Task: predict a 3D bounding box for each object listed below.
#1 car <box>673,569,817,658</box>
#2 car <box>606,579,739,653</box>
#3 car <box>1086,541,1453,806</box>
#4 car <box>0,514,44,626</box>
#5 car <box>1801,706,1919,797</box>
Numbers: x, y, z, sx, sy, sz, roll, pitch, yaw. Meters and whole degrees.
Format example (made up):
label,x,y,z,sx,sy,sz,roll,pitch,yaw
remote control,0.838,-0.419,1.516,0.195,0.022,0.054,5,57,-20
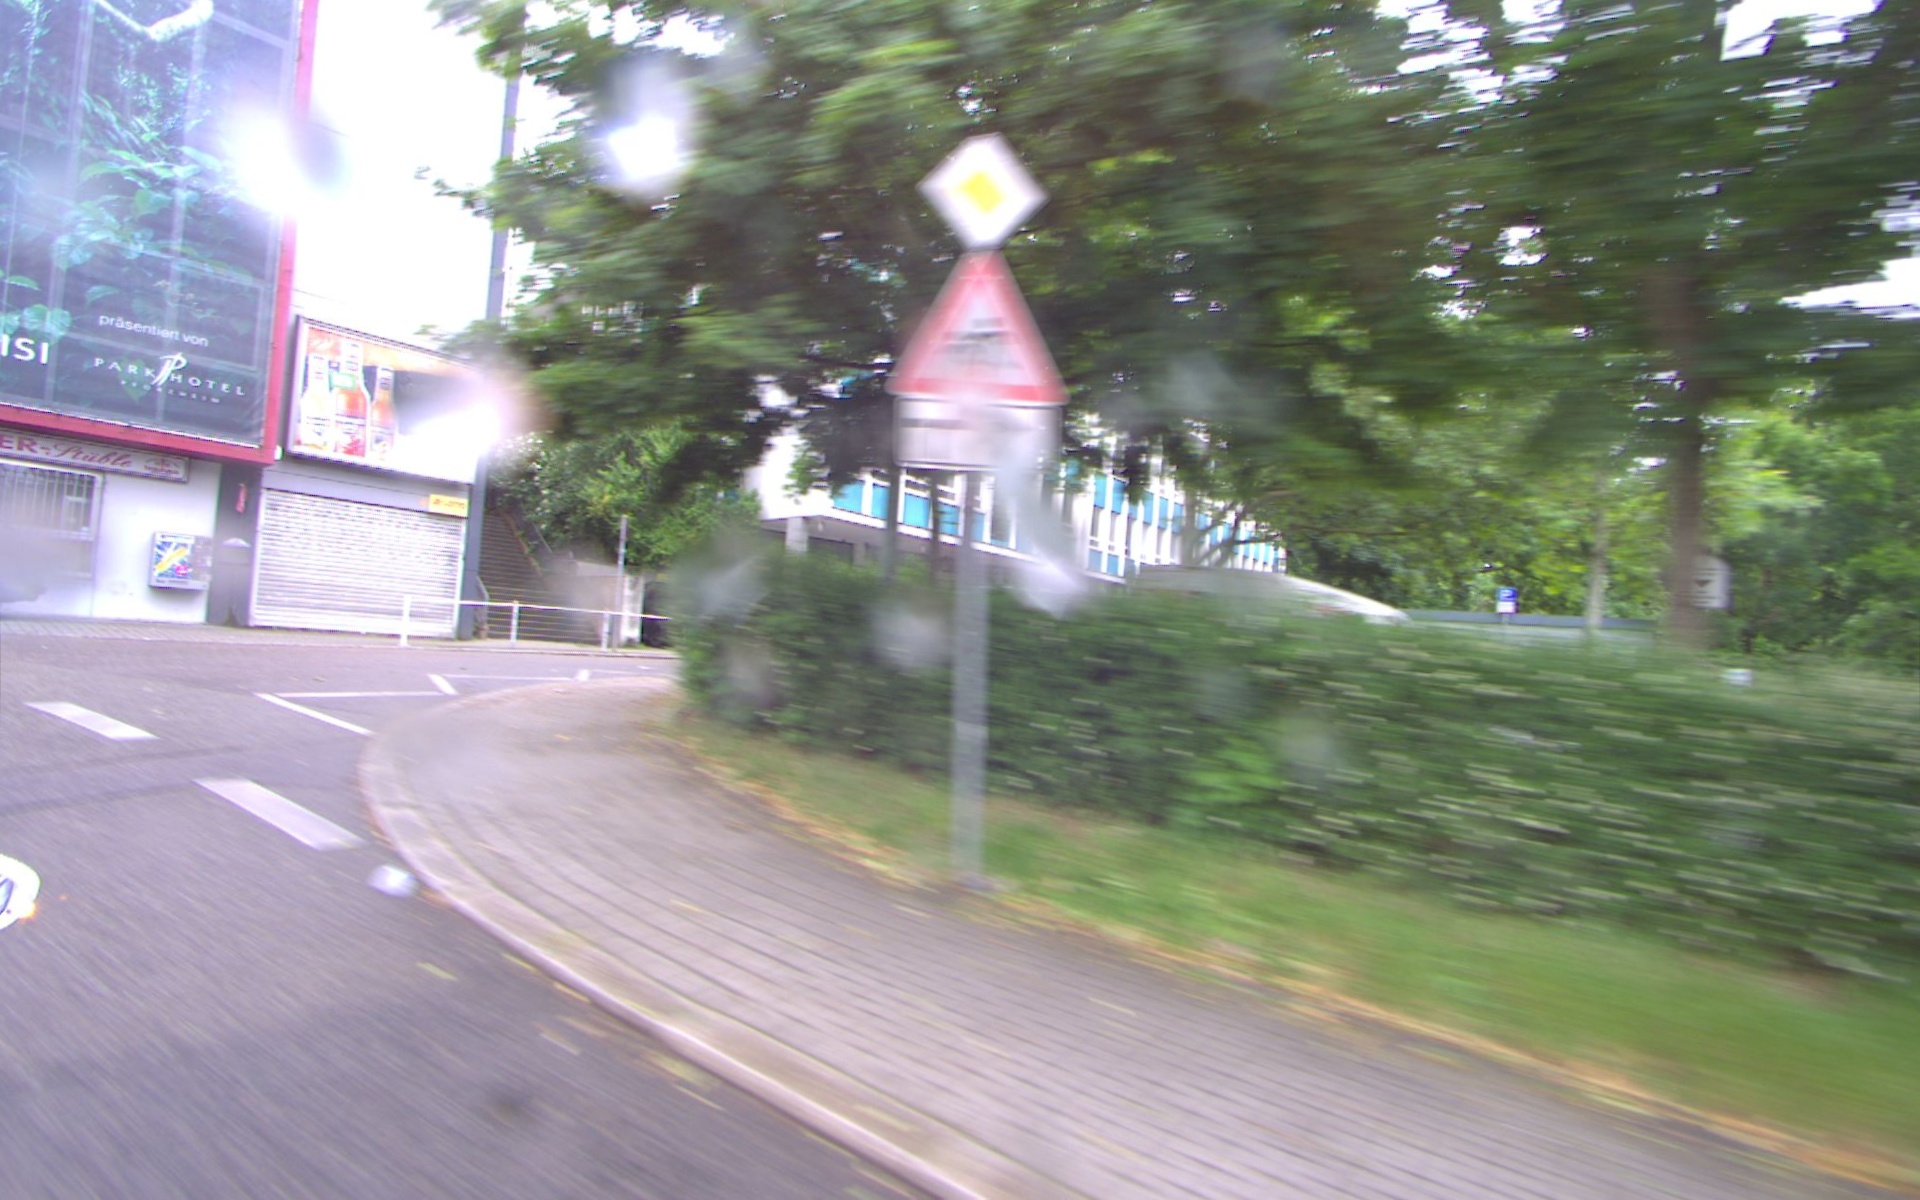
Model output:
label,x,y,z,sx,sy,sz,roll,pitch,yaw
car,-6.394,0.346,29.538,1.869,2.238,4.837,5,-1,-41
car,-7.926,0.408,27.536,1.869,1.713,3.955,5,-1,-41
car,3.208,0.763,9.836,1.615,1.983,4.193,7,-1,42
car,-16.818,-0.647,15.393,1.908,1.732,3.977,4,-2,44
car,20.136,3.295,22.322,1.772,1.629,3.989,5,-1,35
